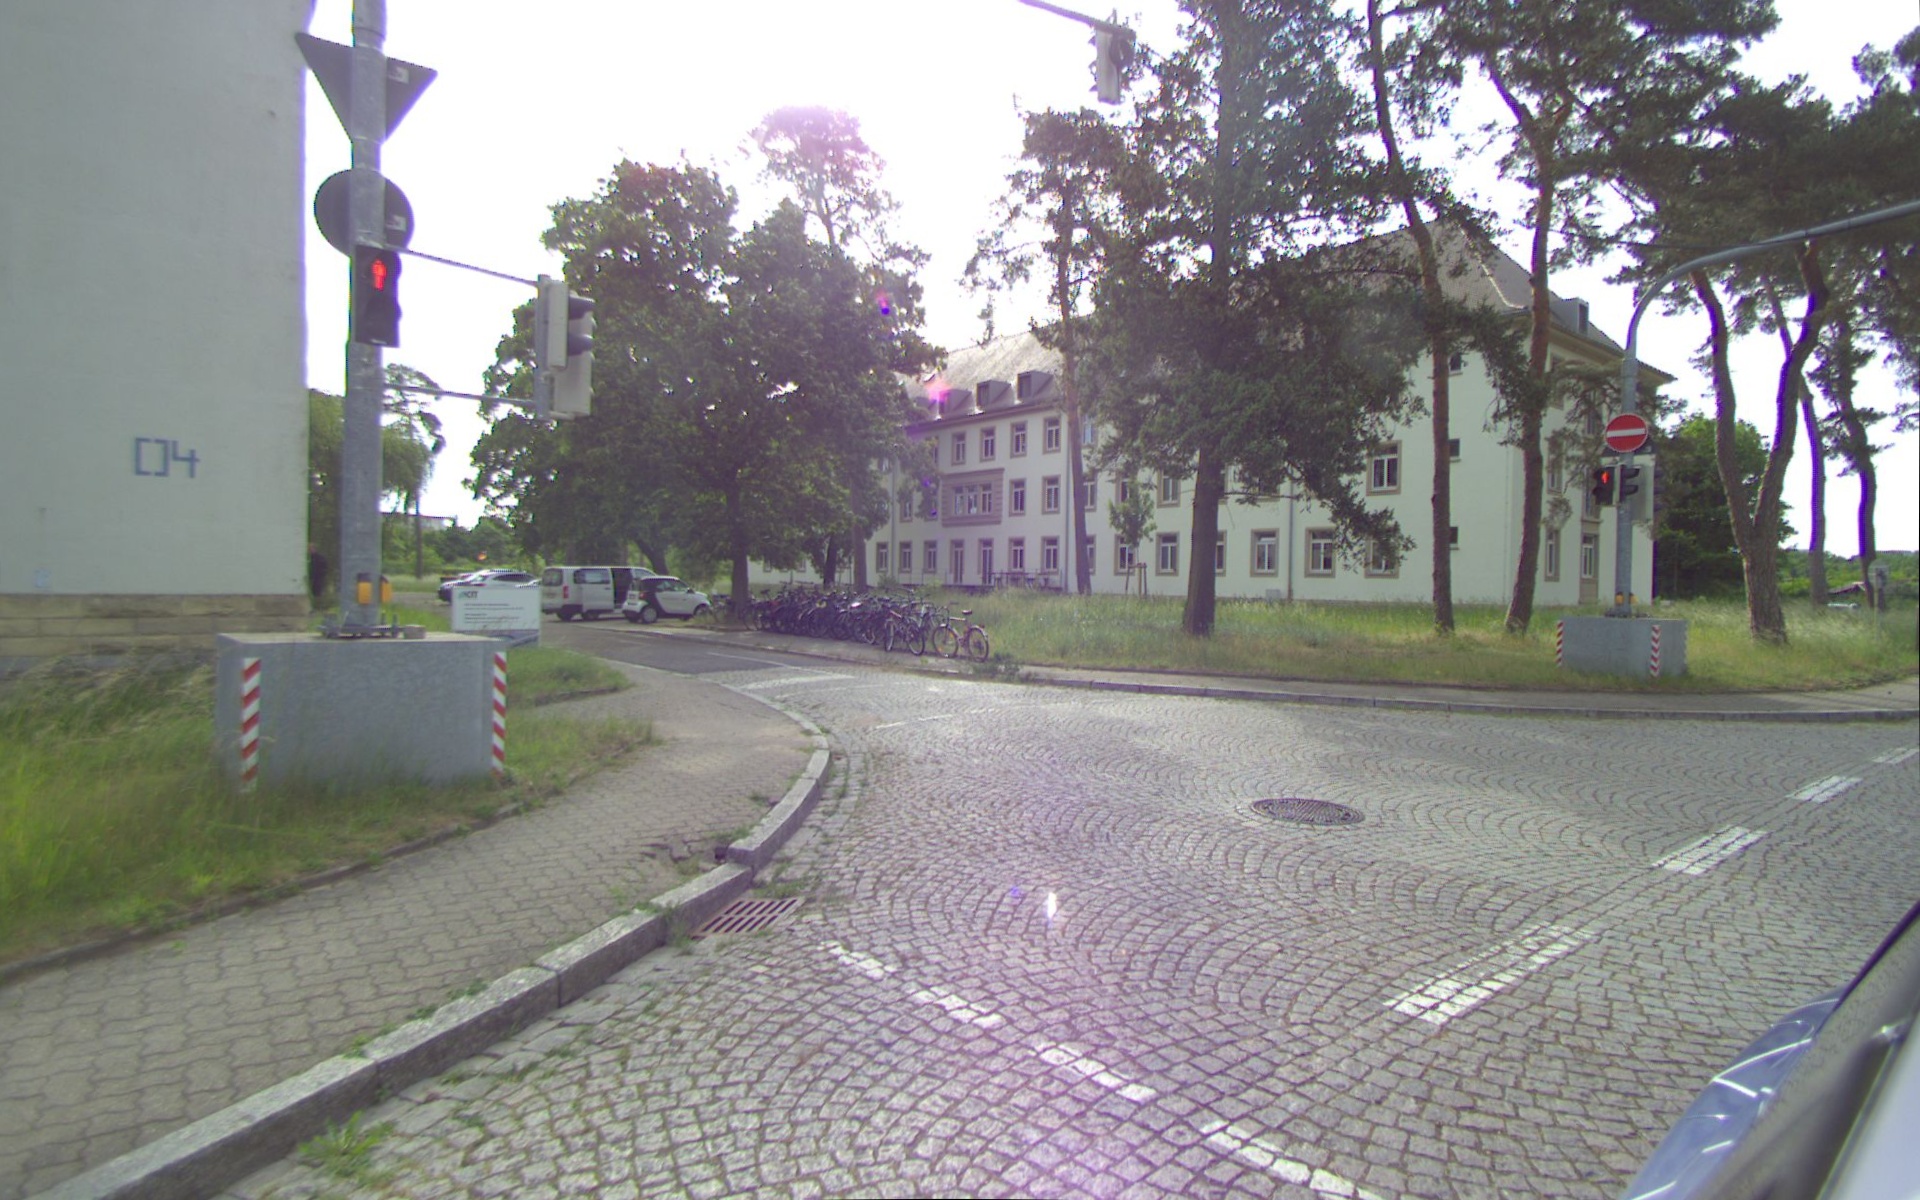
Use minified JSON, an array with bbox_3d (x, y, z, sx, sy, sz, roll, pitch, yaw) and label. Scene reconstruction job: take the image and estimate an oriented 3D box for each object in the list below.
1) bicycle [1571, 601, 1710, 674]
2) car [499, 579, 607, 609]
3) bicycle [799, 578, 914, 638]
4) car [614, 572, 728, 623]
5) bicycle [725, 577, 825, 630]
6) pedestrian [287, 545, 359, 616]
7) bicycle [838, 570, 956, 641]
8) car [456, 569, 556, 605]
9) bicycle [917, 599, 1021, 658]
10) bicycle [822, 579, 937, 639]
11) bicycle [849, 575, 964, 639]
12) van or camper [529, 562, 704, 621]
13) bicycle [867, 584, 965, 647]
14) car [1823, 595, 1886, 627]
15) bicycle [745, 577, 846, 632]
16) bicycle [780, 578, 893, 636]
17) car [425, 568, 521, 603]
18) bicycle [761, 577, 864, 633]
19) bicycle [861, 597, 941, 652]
[{"bbox_3d":[11.297,0.592,16.855,0.635,1.075,1.831,-4,4,-41],"label":"bicycle"},{"bbox_3d":[-17.294,-0.252,43.077,3.931,1.214,1.701,0,1,-41],"label":"car"},{"bbox_3d":[-2.534,0.180,24.985,2.761,1.389,0.949,0,1,-40],"label":"bicycle"},{"bbox_3d":[-9.811,-0.070,34.419,3.177,1.641,1.935,2,0,-40],"label":"car"},{"bbox_3d":[-5.005,0.088,27.527,2.531,1.389,0.949,0,1,-40],"label":"bicycle"},{"bbox_3d":[-17.647,-0.541,28.045,1.541,1.894,1.182,1,-1,37],"label":"pedestrian"},{"bbox_3d":[-1.469,0.111,23.963,2.761,1.603,0.949,0,1,-40],"label":"bicycle"},{"bbox_3d":[-21.134,-0.597,47.194,3.931,1.620,1.701,0,1,-41],"label":"car"},{"bbox_3d":[0.139,0.506,19.021,0.887,1.009,1.977,0,1,-39],"label":"bicycle"},{"bbox_3d":[-1.951,0.196,24.771,2.761,1.389,0.949,0,1,-40],"label":"bicycle"},{"bbox_3d":[-1.193,0.146,23.069,2.581,1.384,0.873,0,1,-40],"label":"bicycle"},{"bbox_3d":[-12.287,-0.314,36.585,2.226,1.982,5.680,1,1,39],"label":"van or camper"},{"bbox_3d":[-0.960,0.329,22.474,2.082,1.323,0.873,0,1,-40],"label":"bicycle"},{"bbox_3d":[46.171,0.534,52.232,3.626,1.552,1.772,0,1,-38],"label":"car"},{"bbox_3d":[-4.357,0.105,26.974,2.531,1.389,0.949,0,1,-40],"label":"bicycle"},{"bbox_3d":[-3.113,0.166,25.665,2.761,1.389,0.949,0,1,-40],"label":"bicycle"},{"bbox_3d":[-23.640,-0.684,49.200,3.931,1.620,1.701,0,1,-41],"label":"car"},{"bbox_3d":[-3.824,0.119,26.326,2.531,1.389,0.949,0,1,-40],"label":"bicycle"},{"bbox_3d":[-1.222,0.473,20.609,0.716,1.009,1.979,1,1,-34],"label":"bicycle"}]
